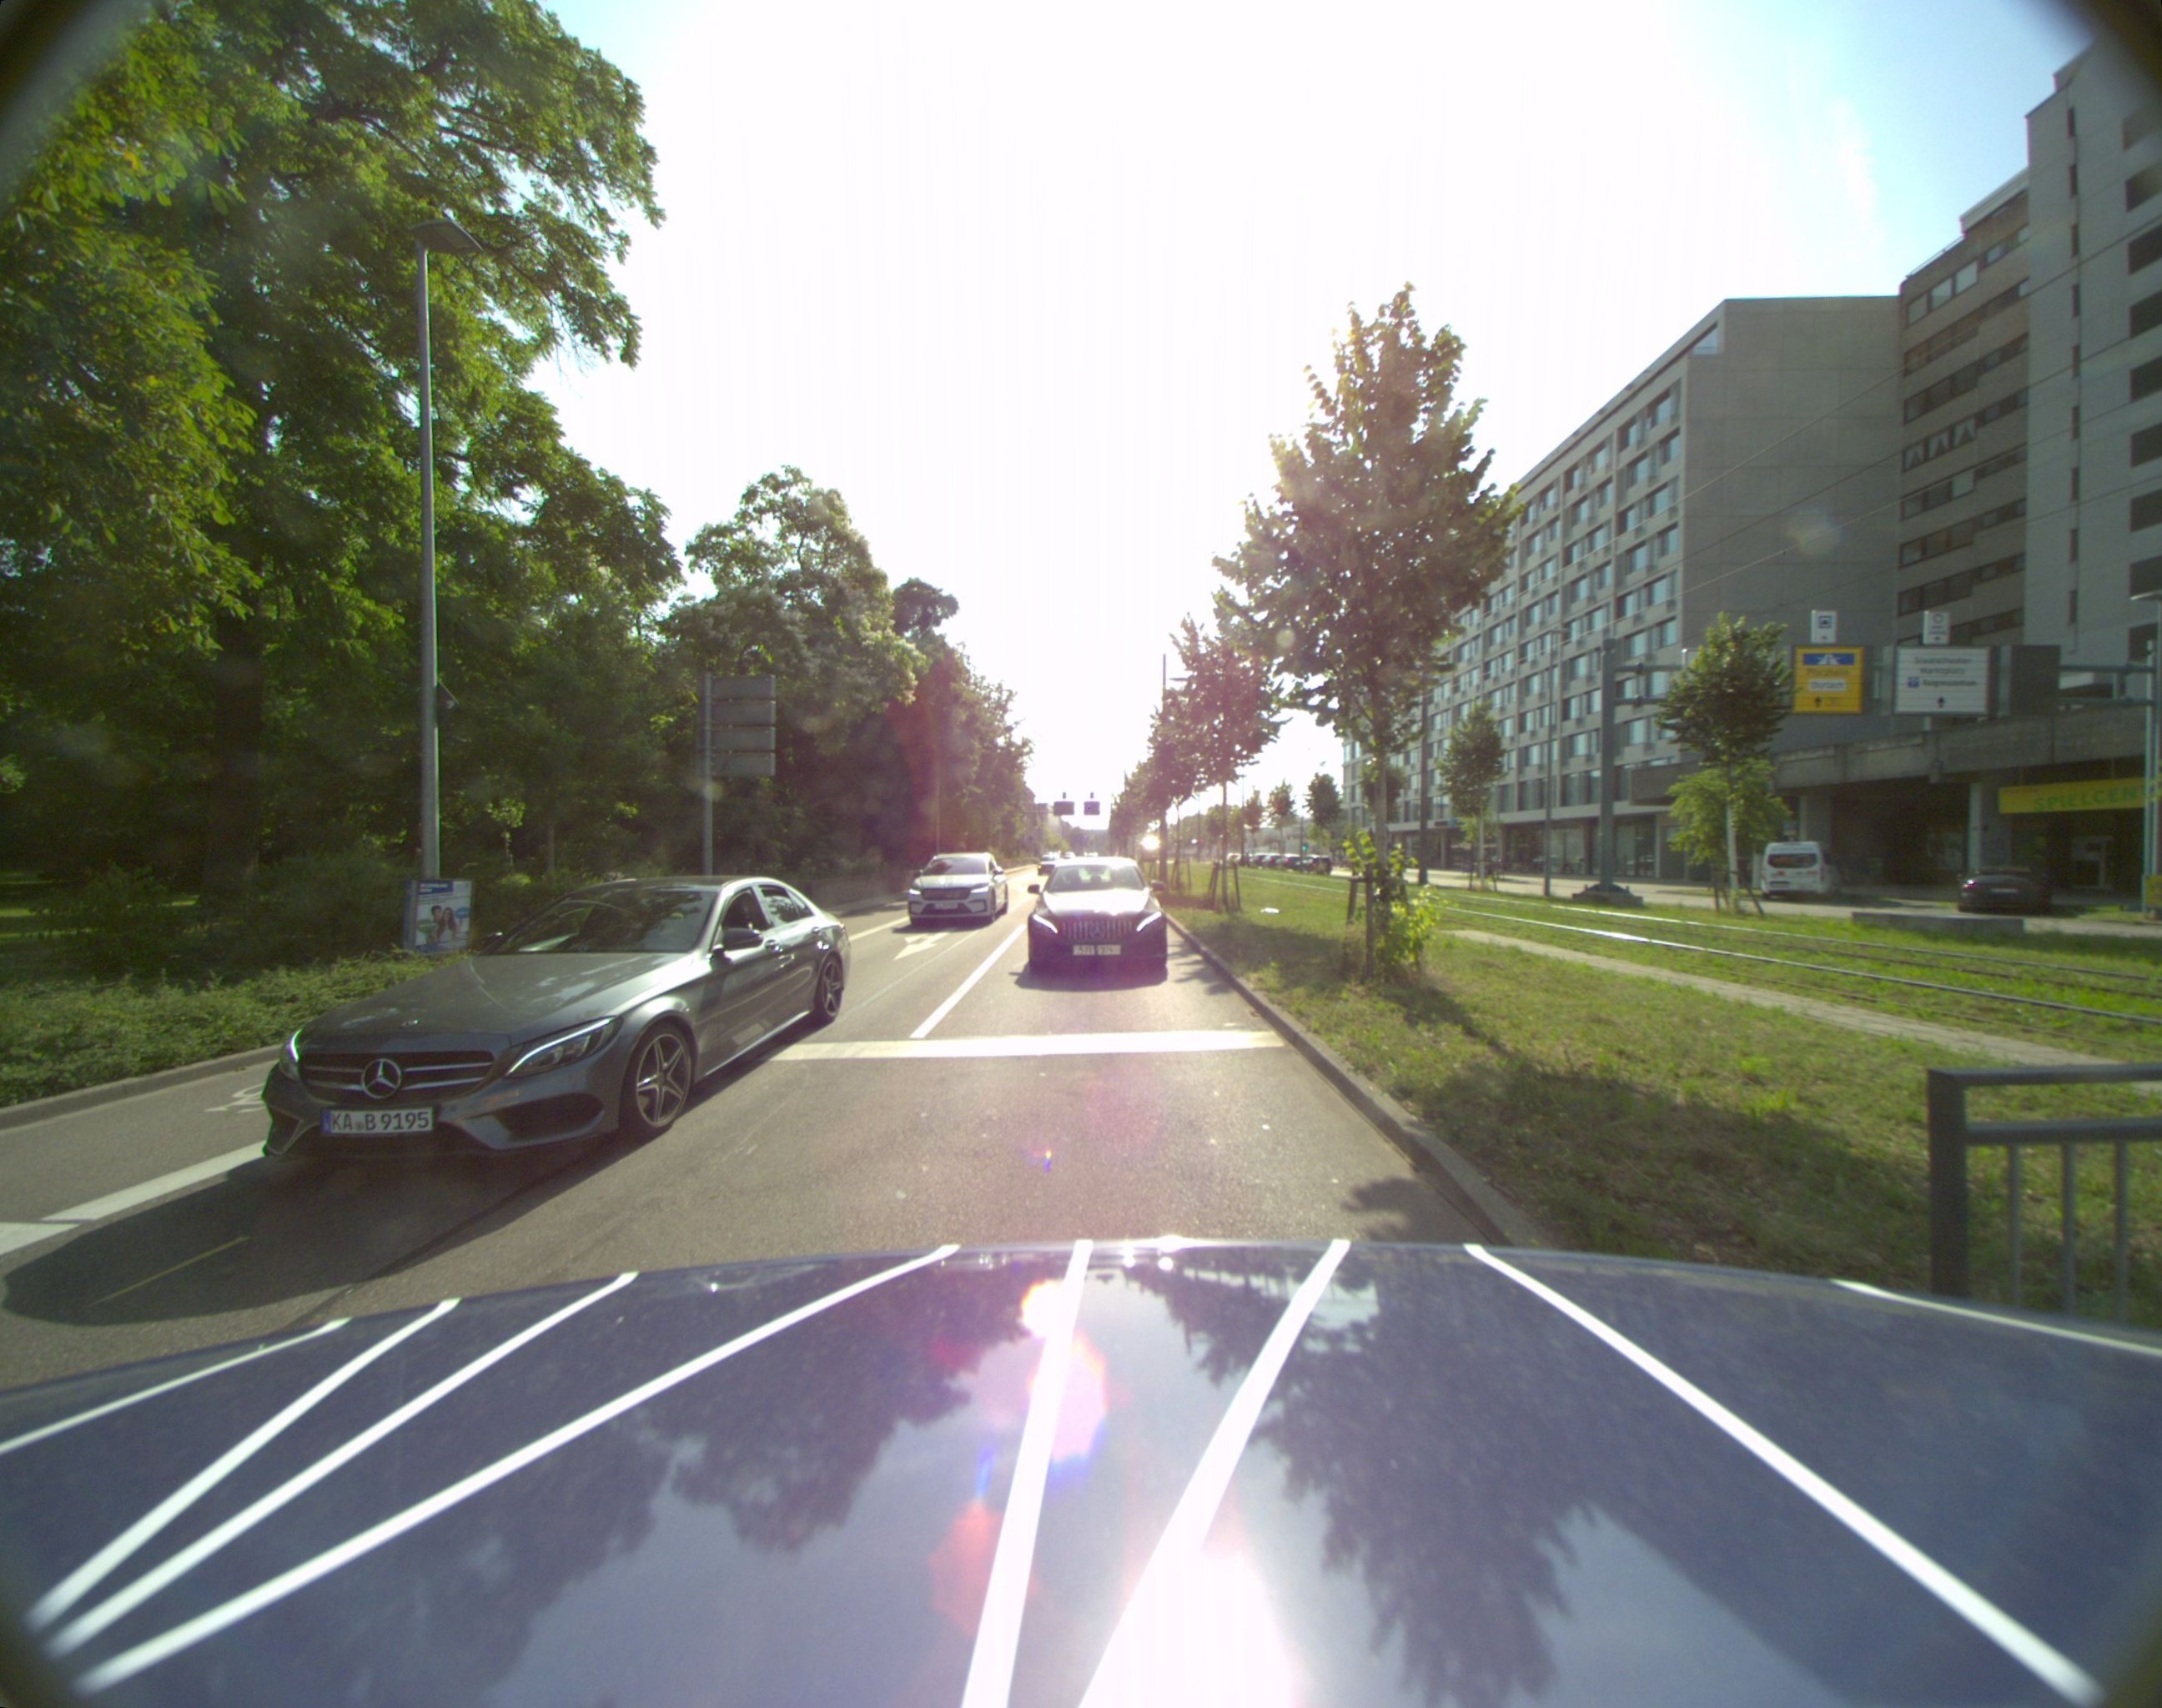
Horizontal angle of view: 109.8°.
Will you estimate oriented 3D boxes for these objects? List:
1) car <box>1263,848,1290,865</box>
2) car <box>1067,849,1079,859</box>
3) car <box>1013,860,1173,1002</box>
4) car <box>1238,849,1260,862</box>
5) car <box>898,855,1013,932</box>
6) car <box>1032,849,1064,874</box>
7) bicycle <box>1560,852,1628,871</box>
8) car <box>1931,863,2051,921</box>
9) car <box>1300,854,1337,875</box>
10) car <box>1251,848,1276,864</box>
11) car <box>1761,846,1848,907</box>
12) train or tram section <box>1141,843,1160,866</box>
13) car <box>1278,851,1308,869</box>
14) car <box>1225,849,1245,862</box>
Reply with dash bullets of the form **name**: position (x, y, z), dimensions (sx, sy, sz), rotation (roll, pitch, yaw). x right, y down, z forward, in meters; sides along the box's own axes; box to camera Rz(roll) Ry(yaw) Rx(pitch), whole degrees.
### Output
- **car**: position (18.635, 0.247, 72.524), dimensions (1.811, 1.565, 4.001), rotation (0, 1, 3)
- **car**: position (-1.427, 0.005, 132.204), dimensions (1.904, 1.584, 4.000), rotation (0, 0, 1)
- **car**: position (0.203, 0.885, 10.877), dimensions (1.759, 1.437, 4.617), rotation (-2, 1, 2)
- **car**: position (18.805, 0.162, 85.121), dimensions (1.811, 1.466, 4.001), rotation (0, 1, 3)
- **car**: position (-2.856, 0.848, 18.210), dimensions (1.897, 1.561, 4.250), rotation (-1, 1, 2)
- **car**: position (-2.255, 0.500, 53.624), dimensions (1.998, 1.630, 4.000), rotation (0, 1, 1)
- **bicycle**: position (37.738, 0.556, 55.942), dimensions (3.993, 1.358, 1.127), rotation (0, 1, 10)
- **car**: position (29.290, 1.172, 24.599), dimensions (2.097, 1.573, 4.008), rotation (-2, 0, 45)
- **car**: position (18.226, 0.780, 58.467), dimensions (1.811, 1.472, 4.001), rotation (0, 1, 3)
- **car**: position (18.701, 0.175, 78.001), dimensions (1.811, 1.565, 4.001), rotation (0, 1, 3)
- **car**: position (29.866, 0.839, 31.301), dimensions (5.419, 2.295, 1.879), rotation (0, 1, -39)
- **train or tram section**: position (10.527, 0.056, 116.224), dimensions (2.500, 3.409, 6.669), rotation (0, 0, 2)
- **car**: position (18.424, 0.518, 66.146), dimensions (1.745, 1.478, 3.642), rotation (0, 1, 3)
- **car**: position (19.099, 0.152, 94.366), dimensions (1.787, 1.516, 4.000), rotation (0, 1, 2)
